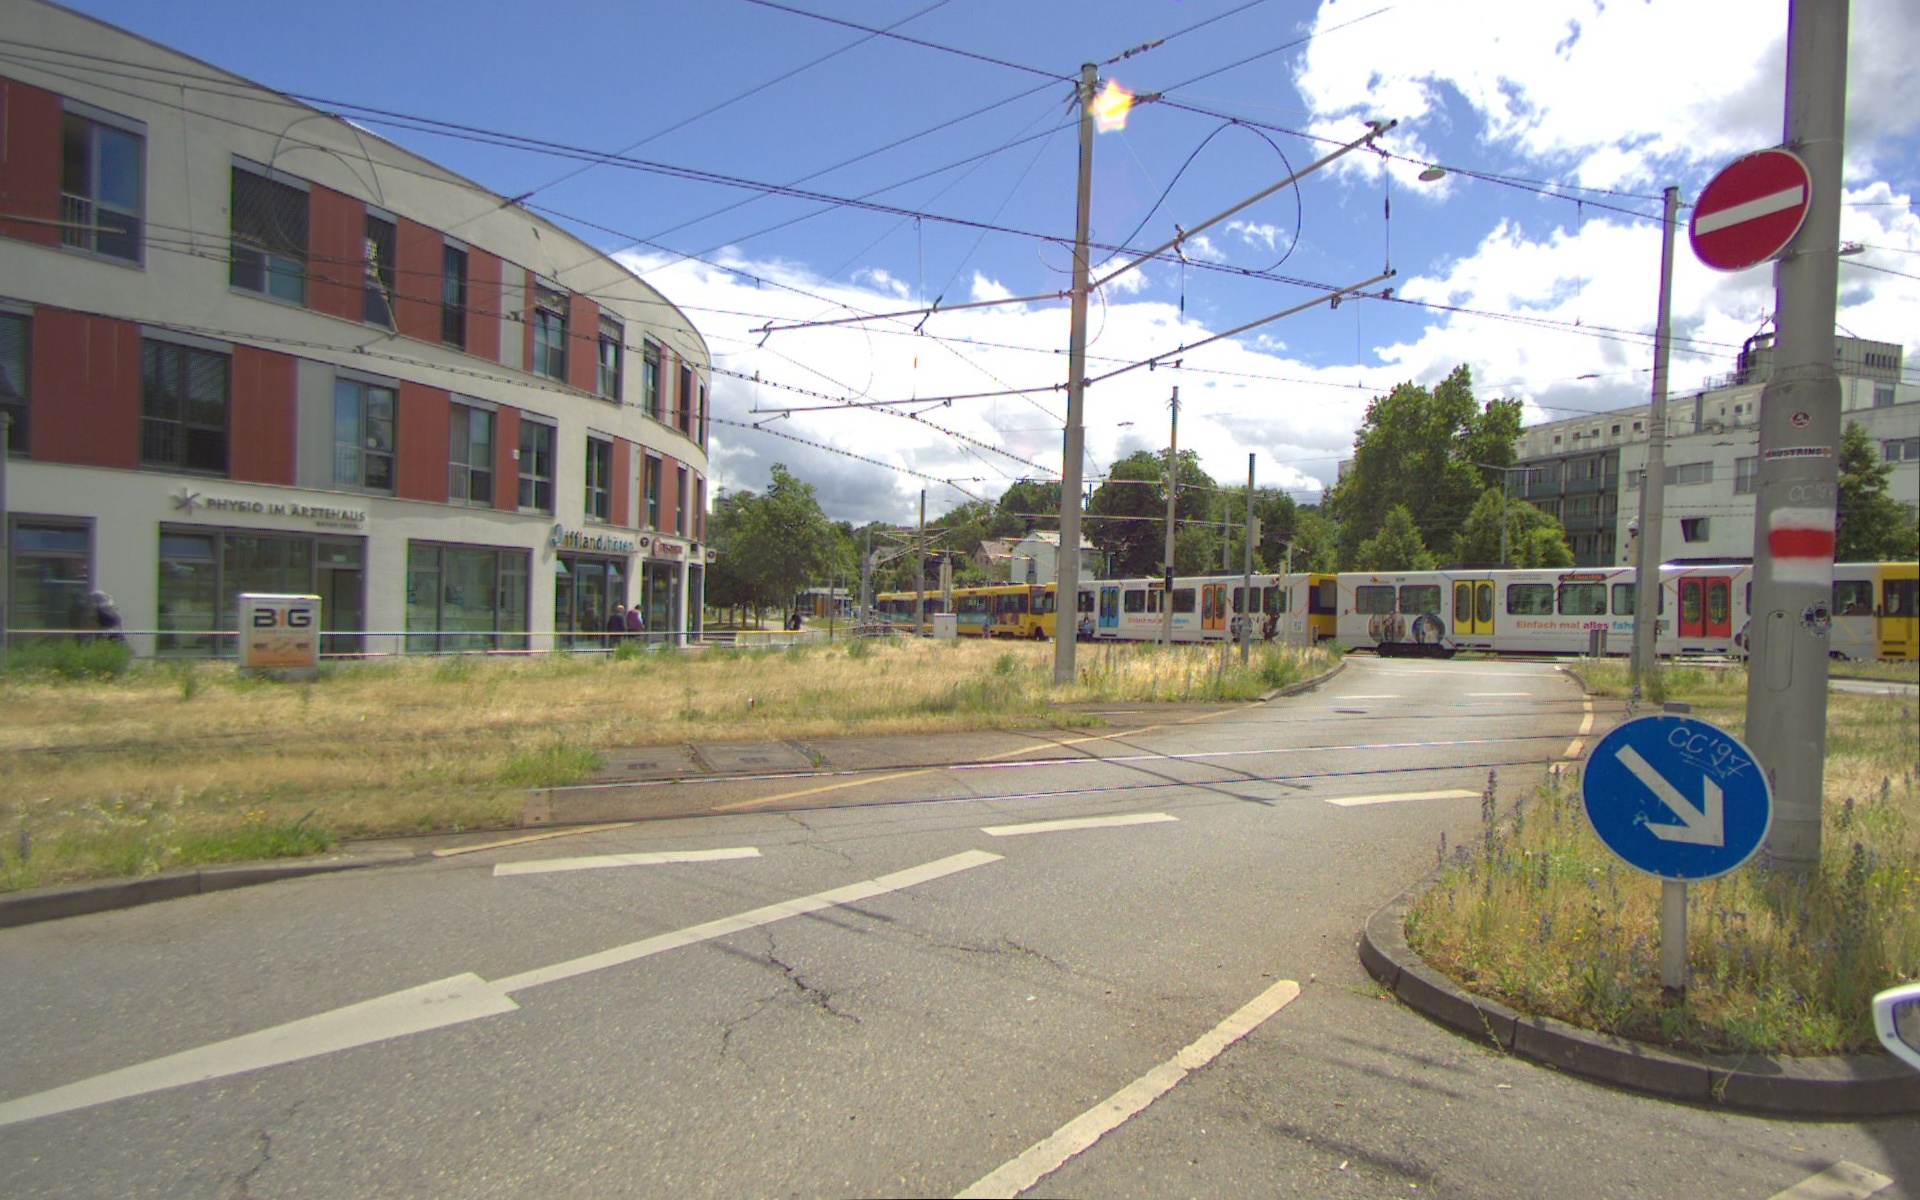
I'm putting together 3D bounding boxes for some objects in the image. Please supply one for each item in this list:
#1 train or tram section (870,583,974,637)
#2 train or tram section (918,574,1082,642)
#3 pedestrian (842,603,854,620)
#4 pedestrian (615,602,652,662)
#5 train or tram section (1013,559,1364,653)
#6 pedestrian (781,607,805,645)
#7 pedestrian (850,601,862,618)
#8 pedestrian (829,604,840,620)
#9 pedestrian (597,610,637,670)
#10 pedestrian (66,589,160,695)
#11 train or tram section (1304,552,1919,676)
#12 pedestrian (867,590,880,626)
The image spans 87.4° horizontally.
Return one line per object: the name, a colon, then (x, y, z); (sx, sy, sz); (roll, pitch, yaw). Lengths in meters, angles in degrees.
train or tram section: (-3.638, 0.953, 85.060); (3.702, 3.970, 18.822); (2, -2, -18)
train or tram section: (2.028, 0.673, 68.852); (3.705, 3.880, 20.053); (2, -2, -21)
pedestrian: (-13.982, 1.447, 125.310); (1.241, 2.040, 1.121); (2, -1, -19)
pedestrian: (-11.067, 1.078, 34.085); (0.848, 1.994, 1.106); (1, -1, -2)
train or tram section: (10.447, 0.402, 51.549); (3.724, 3.930, 20.435); (2, -2, -35)
pedestrian: (-7.466, 1.163, 44.962); (0.847, 1.646, 0.733); (1, -1, 7)
pedestrian: (-12.448, 1.164, 120.346); (1.241, 2.040, 1.121); (2, -1, -19)
pedestrian: (-16.722, 1.610, 133.684); (1.241, 2.040, 1.121); (2, -1, -19)
pedestrian: (-9.359, 1.079, 27.424); (0.721, 1.601, 0.691); (1, 0, 22)
pedestrian: (-16.517, 0.801, 19.601); (0.849, 1.994, 1.114); (1, -1, 29)
train or tram section: (23.576, 0.461, 37.966); (19.711, 3.864, 3.751); (0, -2, 34)
pedestrian: (-14.925, 1.392, 173.216); (1.964, 5.998, 2.368); (2, -1, -9)
